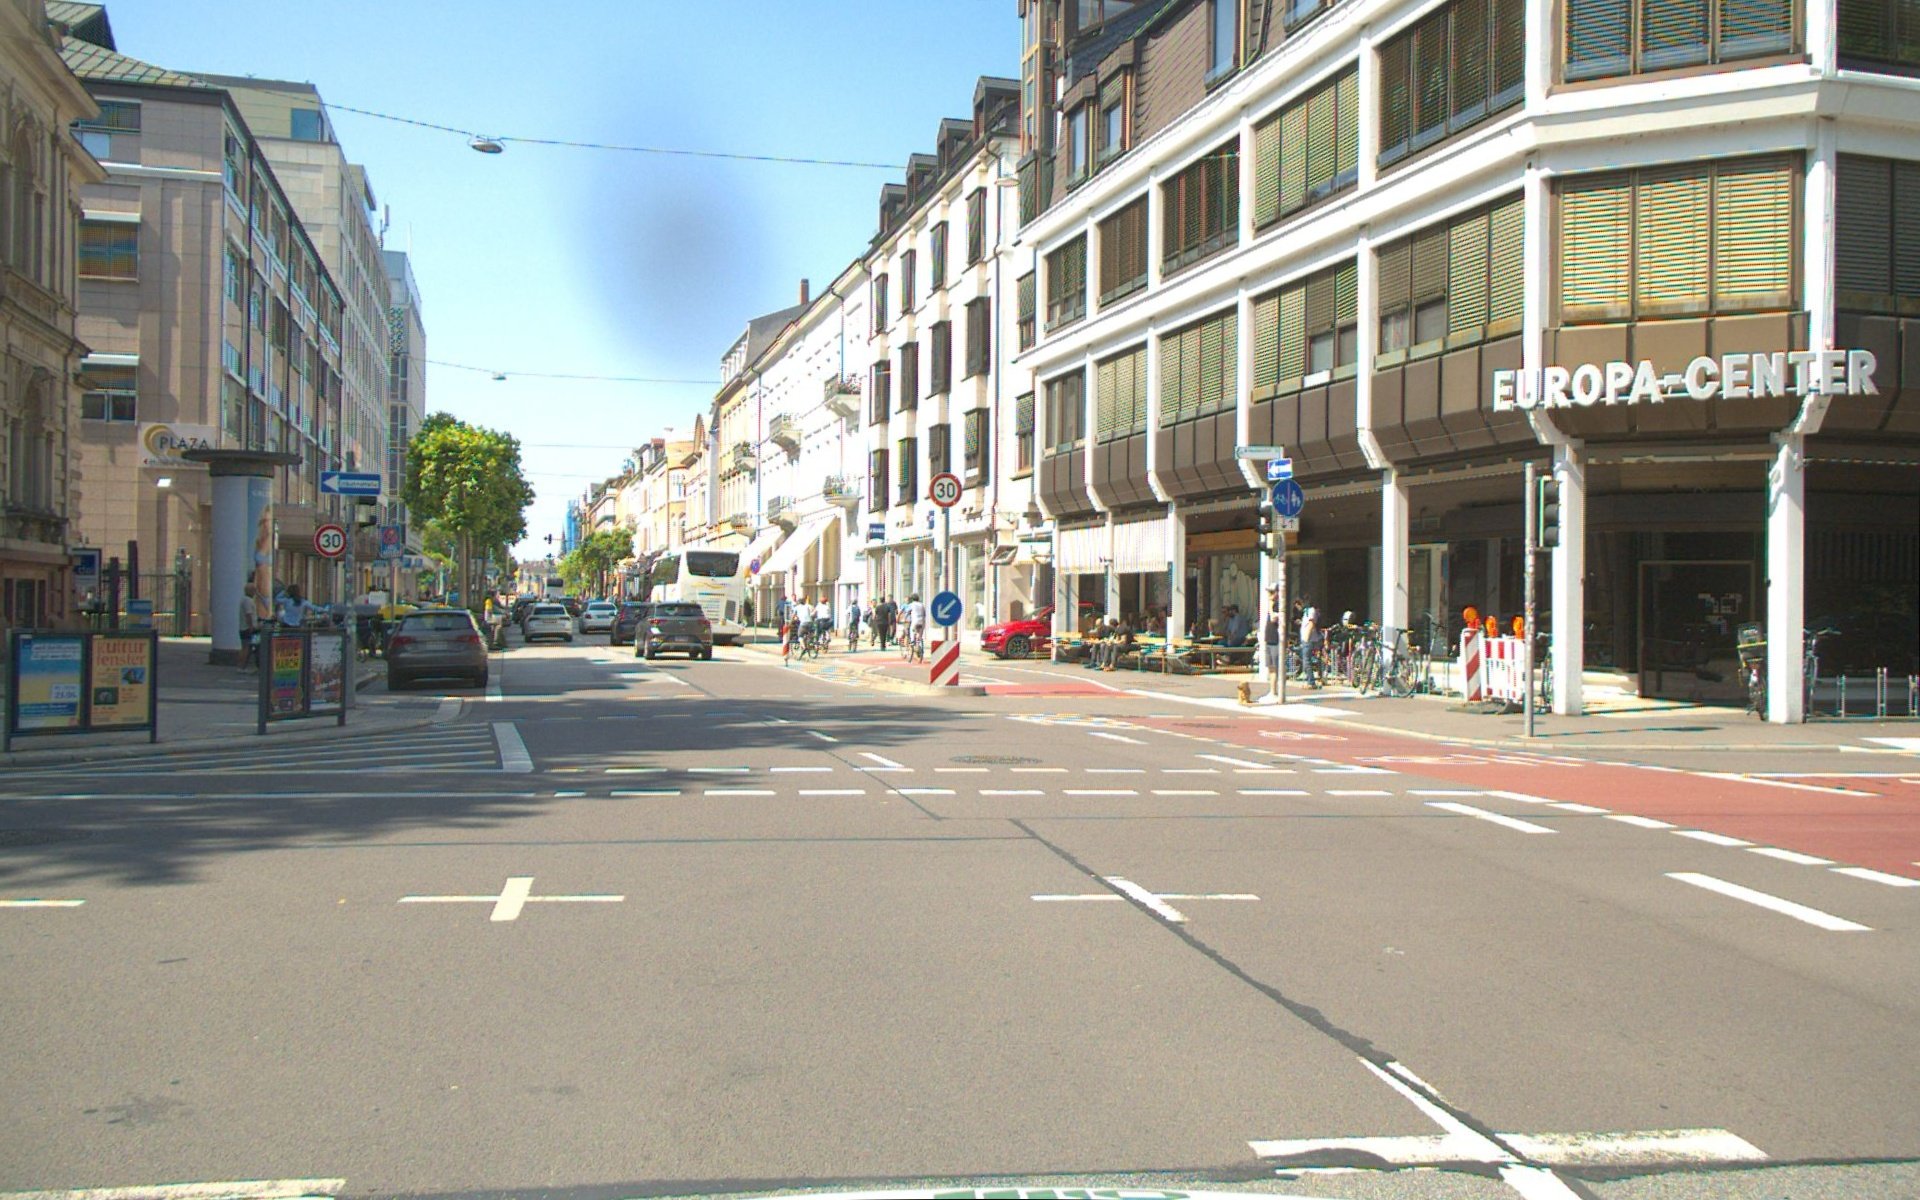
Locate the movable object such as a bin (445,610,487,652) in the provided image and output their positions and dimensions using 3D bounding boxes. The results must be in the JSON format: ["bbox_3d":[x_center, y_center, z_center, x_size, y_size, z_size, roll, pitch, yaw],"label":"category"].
[{"bbox_3d":[-15.862,1.000,53.150,1.256,1.322,0.850,1,-1,-16],"label":"movable object such as a bin"}]

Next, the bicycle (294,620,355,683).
[{"bbox_3d":[-12.037,0.988,31.369,0.421,1.140,2.240,2,-2,-5],"label":"bicycle"}]

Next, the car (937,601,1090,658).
[{"bbox_3d":[1.481,0.827,46.465,3.976,1.521,1.834,0,-2,-14],"label":"car"}]

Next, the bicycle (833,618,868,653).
[{"bbox_3d":[-3.574,1.135,53.619,0.610,1.118,2.341,1,-1,-17],"label":"bicycle"}]

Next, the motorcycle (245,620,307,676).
[{"bbox_3d":[-13.009,0.904,31.495,0.445,1.015,2.157,2,-1,-6],"label":"motorcycle"}]

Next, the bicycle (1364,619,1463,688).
[{"bbox_3d":[7.821,0.921,28.529,1.685,1.140,0.277,-1,0,-9],"label":"bicycle"}]

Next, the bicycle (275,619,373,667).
[{"bbox_3d":[-16.036,1.086,41.720,2.209,1.140,0.552,3,-2,-27],"label":"bicycle"}]

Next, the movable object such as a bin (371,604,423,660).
[{"bbox_3d":[-15.752,0.884,46.330,1.103,1.476,1.435,2,0,-10],"label":"movable object such as a bin"}]

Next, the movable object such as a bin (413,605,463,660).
[{"bbox_3d":[-14.663,0.909,46.533,1.103,1.476,1.435,2,0,-10],"label":"movable object such as a bin"}]

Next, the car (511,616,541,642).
[{"bbox_3d":[-26.715,1.761,101.835,1.715,1.466,3.983,0,0,-16],"label":"car"}]

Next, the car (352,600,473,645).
[{"bbox_3d":[-20.154,0.815,60.878,3.965,1.520,1.934,1,0,26],"label":"car"}]

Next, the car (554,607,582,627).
[{"bbox_3d":[-29.083,1.235,122.601,1.833,1.466,3.982,0,0,-16],"label":"car"}]

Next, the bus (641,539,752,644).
[{"bbox_3d":[-10.979,-0.292,67.707,2.835,3.807,12.370,2,-1,-16],"label":"bus"}]

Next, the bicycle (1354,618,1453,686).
[{"bbox_3d":[7.757,0.909,28.920,1.685,1.140,0.277,-1,0,-9],"label":"bicycle"}]

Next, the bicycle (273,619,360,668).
[{"bbox_3d":[-15.970,1.078,41.059,1.936,1.140,0.552,3,-2,-27],"label":"bicycle"}]

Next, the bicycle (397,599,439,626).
[{"bbox_3d":[-28.958,0.670,88.364,2.037,1.311,0.365,3,-2,-23],"label":"bicycle"}]

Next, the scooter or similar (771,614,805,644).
[{"bbox_3d":[-6.608,1.105,63.599,1.103,1.121,1.080,1,-1,-17],"label":"scooter or similar"}]

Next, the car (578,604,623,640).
[{"bbox_3d":[-16.613,1.017,76.327,1.803,1.554,3.982,-1,-1,-16],"label":"car"}]

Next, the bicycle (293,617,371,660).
[{"bbox_3d":[-17.117,1.058,45.115,1.937,1.140,0.506,1,-2,-20],"label":"bicycle"}]

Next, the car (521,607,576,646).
[{"bbox_3d":[-16.036,1.013,64.368,1.834,1.466,3.980,1,0,-18],"label":"car"}]

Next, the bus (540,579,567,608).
[{"bbox_3d":[-52.843,-0.892,214.848,2.727,3.668,8.926,0,0,-18],"label":"bus"}]

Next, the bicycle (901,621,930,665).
[{"bbox_3d":[-1.201,1.151,44.509,0.583,1.140,1.798,0,0,-8],"label":"bicycle"}]

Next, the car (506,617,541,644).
[{"bbox_3d":[-24.612,1.720,93.131,1.833,1.466,3.982,0,-2,-16],"label":"car"}]

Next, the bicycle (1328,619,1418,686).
[{"bbox_3d":[7.325,0.925,29.342,1.541,1.140,0.277,-1,0,-9],"label":"bicycle"}]

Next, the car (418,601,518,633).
[{"bbox_3d":[-24.689,0.844,82.946,4.686,1.447,1.882,2,0,25],"label":"car"}]

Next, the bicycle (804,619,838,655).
[{"bbox_3d":[-4.412,1.163,52.422,0.610,1.118,2.341,1,-1,-17],"label":"bicycle"}]

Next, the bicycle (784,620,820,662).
[{"bbox_3d":[-4.670,1.197,48.865,0.653,1.140,2.234,2,0,-15],"label":"bicycle"}]

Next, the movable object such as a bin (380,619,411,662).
[{"bbox_3d":[-15.321,1.103,44.879,0.713,1.117,0.652,2,0,-23],"label":"movable object such as a bin"}]

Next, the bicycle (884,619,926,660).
[{"bbox_3d":[-1.603,1.123,47.688,0.610,1.118,2.341,1,-1,-17],"label":"bicycle"}]

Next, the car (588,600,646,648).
[{"bbox_3d":[-12.041,0.861,57.866,1.802,1.554,3.984,-1,-1,-14],"label":"car"}]

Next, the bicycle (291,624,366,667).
[{"bbox_3d":[-16.712,1.197,43.816,1.816,1.092,0.553,-1,-2,-19],"label":"bicycle"}]

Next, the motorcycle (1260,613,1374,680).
[{"bbox_3d":[7.101,0.925,32.938,2.188,1.313,0.949,-1,-2,12],"label":"motorcycle"}]

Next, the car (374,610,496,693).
[{"bbox_3d":[-9.801,0.911,31.142,1.904,1.378,4.234,0,0,-14],"label":"car"}]

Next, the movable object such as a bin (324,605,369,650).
[{"bbox_3d":[-19.293,0.854,52.027,1.189,1.322,1.123,2,0,-16],"label":"movable object such as a bin"}]

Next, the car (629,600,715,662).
[{"bbox_3d":[-7.845,0.830,44.843,1.804,1.554,3.981,2,-1,-17],"label":"car"}]

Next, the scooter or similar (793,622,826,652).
[{"bbox_3d":[-5.085,1.241,55.816,0.852,0.974,1.207,1,-1,-17],"label":"scooter or similar"}]

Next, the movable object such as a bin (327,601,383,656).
[{"bbox_3d":[-16.897,0.787,46.245,1.187,1.476,1.361,2,0,-10],"label":"movable object such as a bin"}]
